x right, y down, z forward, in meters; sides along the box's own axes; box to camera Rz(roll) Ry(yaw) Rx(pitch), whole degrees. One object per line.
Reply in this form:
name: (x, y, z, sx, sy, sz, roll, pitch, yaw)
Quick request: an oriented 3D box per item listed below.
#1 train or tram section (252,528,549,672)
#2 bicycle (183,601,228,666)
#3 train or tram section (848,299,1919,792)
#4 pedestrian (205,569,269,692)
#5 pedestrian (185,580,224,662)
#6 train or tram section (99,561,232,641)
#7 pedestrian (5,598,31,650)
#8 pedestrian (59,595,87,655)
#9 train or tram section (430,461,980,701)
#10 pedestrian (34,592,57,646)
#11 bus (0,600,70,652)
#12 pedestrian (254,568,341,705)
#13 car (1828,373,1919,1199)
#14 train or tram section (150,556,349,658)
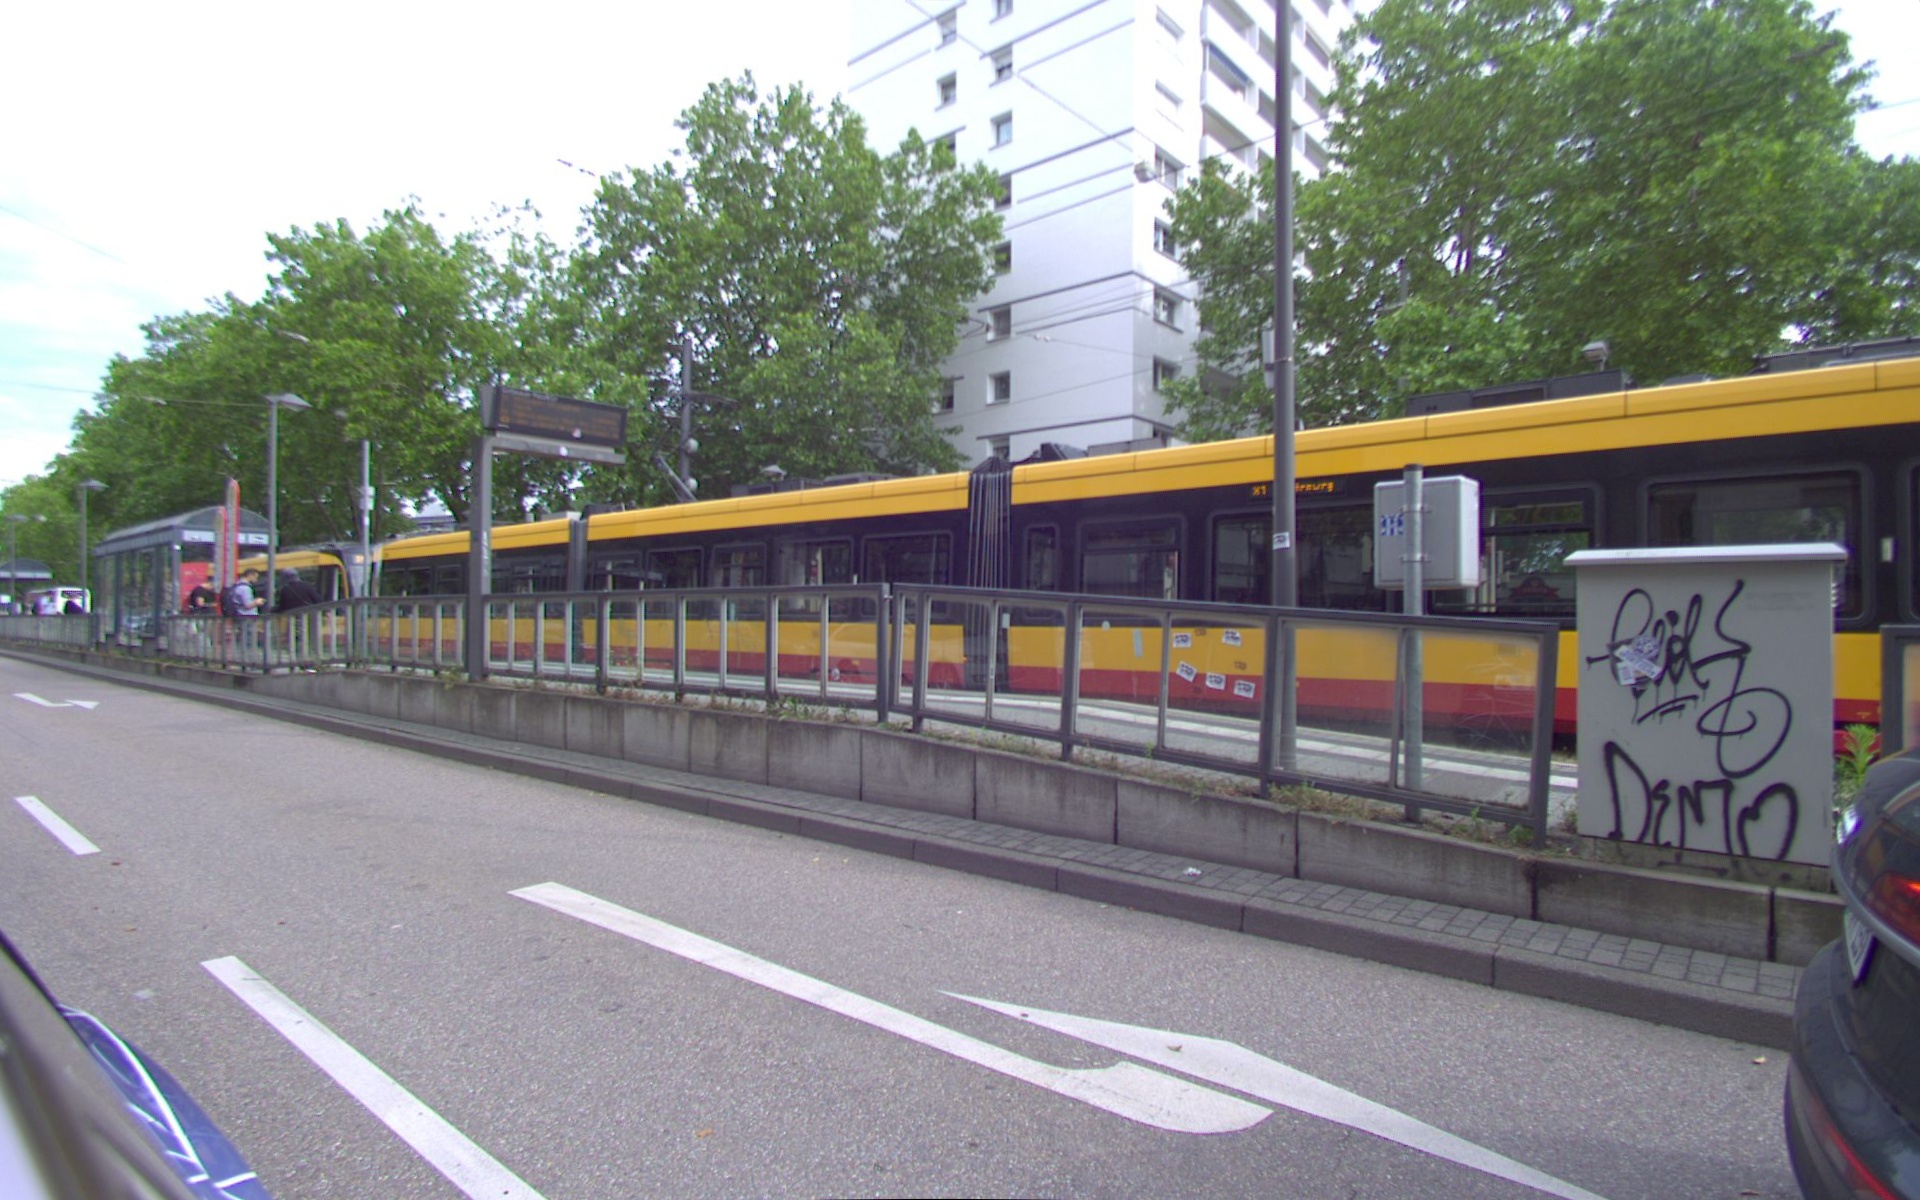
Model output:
train or tram section: (-17.906, 0.045, 31.344, 15.287, 3.558, 3.028, -1, 0, 41)
bicycle: (-14.709, 0.645, 19.721, 1.289, 1.231, 0.414, -1, 0, 41)
train or tram section: (5.290, -0.386, 10.965, 15.841, 3.615, 3.028, -1, 0, 41)
pedestrian: (-12.268, 0.496, 17.202, 0.742, 2.029, 0.821, -1, 0, -26)
pedestrian: (-15.337, 0.423, 20.537, 0.471, 1.645, 0.526, -1, 0, 39)
train or tram section: (-40.183, 0.077, 50.946, 12.533, 3.588, 3.060, -1, 0, 41)
pedestrian: (-37.377, 0.953, 40.153, 0.587, 2.029, 0.668, -1, 0, 38)
pedestrian: (-24.948, 0.697, 28.454, 0.730, 1.645, 0.507, -1, 0, 42)
train or tram section: (-6.414, -0.237, 21.237, 15.287, 3.558, 3.028, -1, 0, 41)
pedestrian: (-28.438, 0.579, 31.464, 0.392, 1.645, 0.474, -1, 0, 42)
bus: (-38.321, 1.023, 41.702, 3.998, 2.029, 1.973, -1, 0, 41)
pedestrian: (-10.056, 0.543, 15.385, 0.808, 2.029, 0.754, -1, 0, 4)
car: (3.337, 0.524, 0.507, 4.354, 1.613, 1.861, -1, -1, 40)
train or tram section: (-29.570, 0.298, 41.575, 15.764, 3.558, 3.028, -1, 0, 41)
